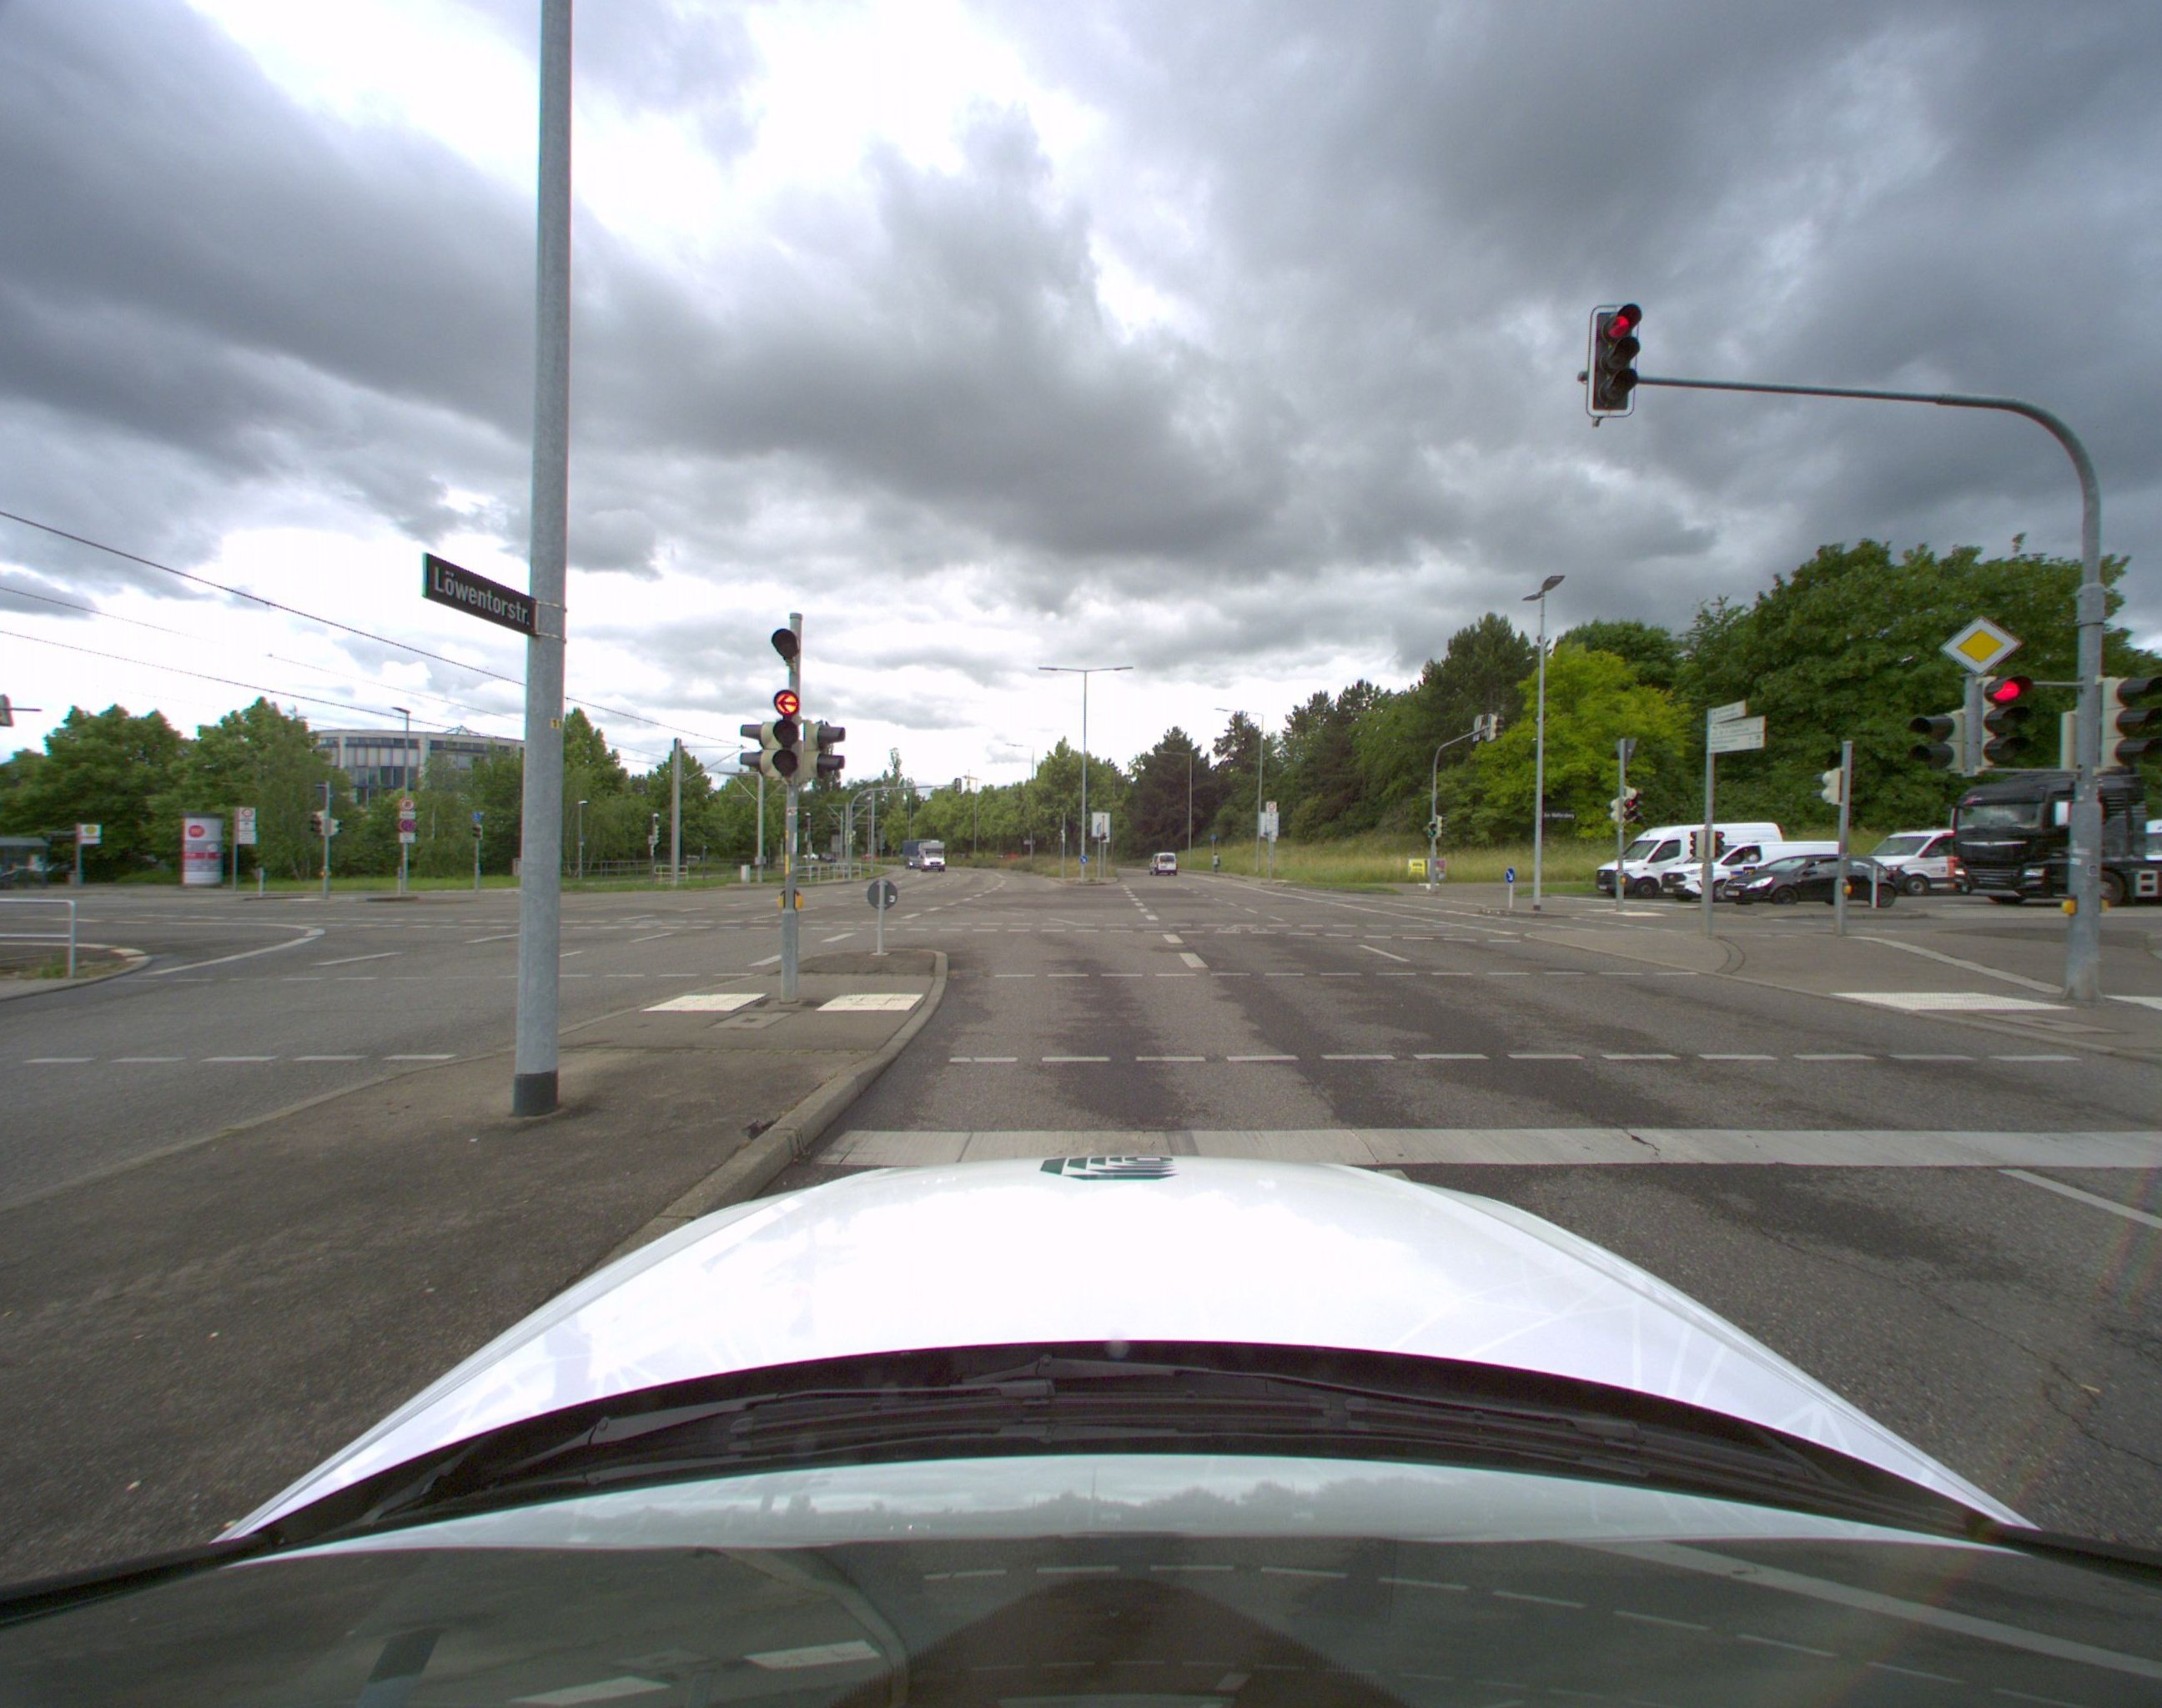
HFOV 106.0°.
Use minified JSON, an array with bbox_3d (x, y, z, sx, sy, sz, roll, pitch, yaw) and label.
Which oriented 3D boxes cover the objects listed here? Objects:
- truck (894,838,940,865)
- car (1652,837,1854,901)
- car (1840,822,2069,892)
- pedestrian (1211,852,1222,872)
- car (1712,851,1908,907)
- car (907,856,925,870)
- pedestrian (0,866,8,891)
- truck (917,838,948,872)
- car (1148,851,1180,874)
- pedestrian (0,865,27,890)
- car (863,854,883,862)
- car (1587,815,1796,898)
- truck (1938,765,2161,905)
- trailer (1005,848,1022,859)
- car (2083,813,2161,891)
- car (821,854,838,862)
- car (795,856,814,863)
[{"bbox_3d":[-23.900,-0.244,117.986,3.066,3.760,12.697,0,-1,-28],"label":"truck"},{"bbox_3d":[21.591,0.457,26.330,4.836,1.896,2.034,-1,0,1],"label":"car"},{"bbox_3d":[30.682,0.108,28.764,5.677,2.289,2.136,-1,0,2],"label":"car"},{"bbox_3d":[10.921,0.655,65.717,0.811,1.627,0.791,0,0,1],"label":"pedestrian"},{"bbox_3d":[20.280,0.668,22.773,3.905,1.436,1.732,-1,0,1],"label":"car"},{"bbox_3d":[-19.966,1.017,98.233,1.784,1.446,4.504,-2,2,-16],"label":"car"},{"bbox_3d":[-57.661,1.296,43.172,0.774,1.303,0.666,0,0,15],"label":"pedestrian"},{"bbox_3d":[-14.639,0.118,79.993,2.122,3.135,5.862,0,-1,-19],"label":"truck"},{"bbox_3d":[6.724,0.716,66.620,1.989,1.802,4.835,-1,-1,-2],"label":"car"},{"bbox_3d":[-56.386,1.253,42.980,0.774,1.304,0.666,0,0,15],"label":"pedestrian"},{"bbox_3d":[-40.835,0.780,159.998,3.973,1.546,1.795,0,0,42],"label":"car"},{"bbox_3d":[21.897,0.094,29.410,5.870,2.781,2.136,-1,0,2],"label":"car"},{"bbox_3d":[27.934,-0.516,22.270,6.027,3.538,2.729,-1,0,2],"label":"truck"},{"bbox_3d":[-10.275,-0.025,123.423,1.773,1.616,3.020,-1,0,-24],"label":"trailer"},{"bbox_3d":[39.723,-0.131,28.490,6.473,2.609,2.197,-1,0,2],"label":"car"},{"bbox_3d":[-46.913,0.756,151.788,1.794,1.446,4.479,-3,2,-35],"label":"car"},{"bbox_3d":[-58.790,1.206,173.118,3.973,1.546,1.795,0,0,33],"label":"car"}]
